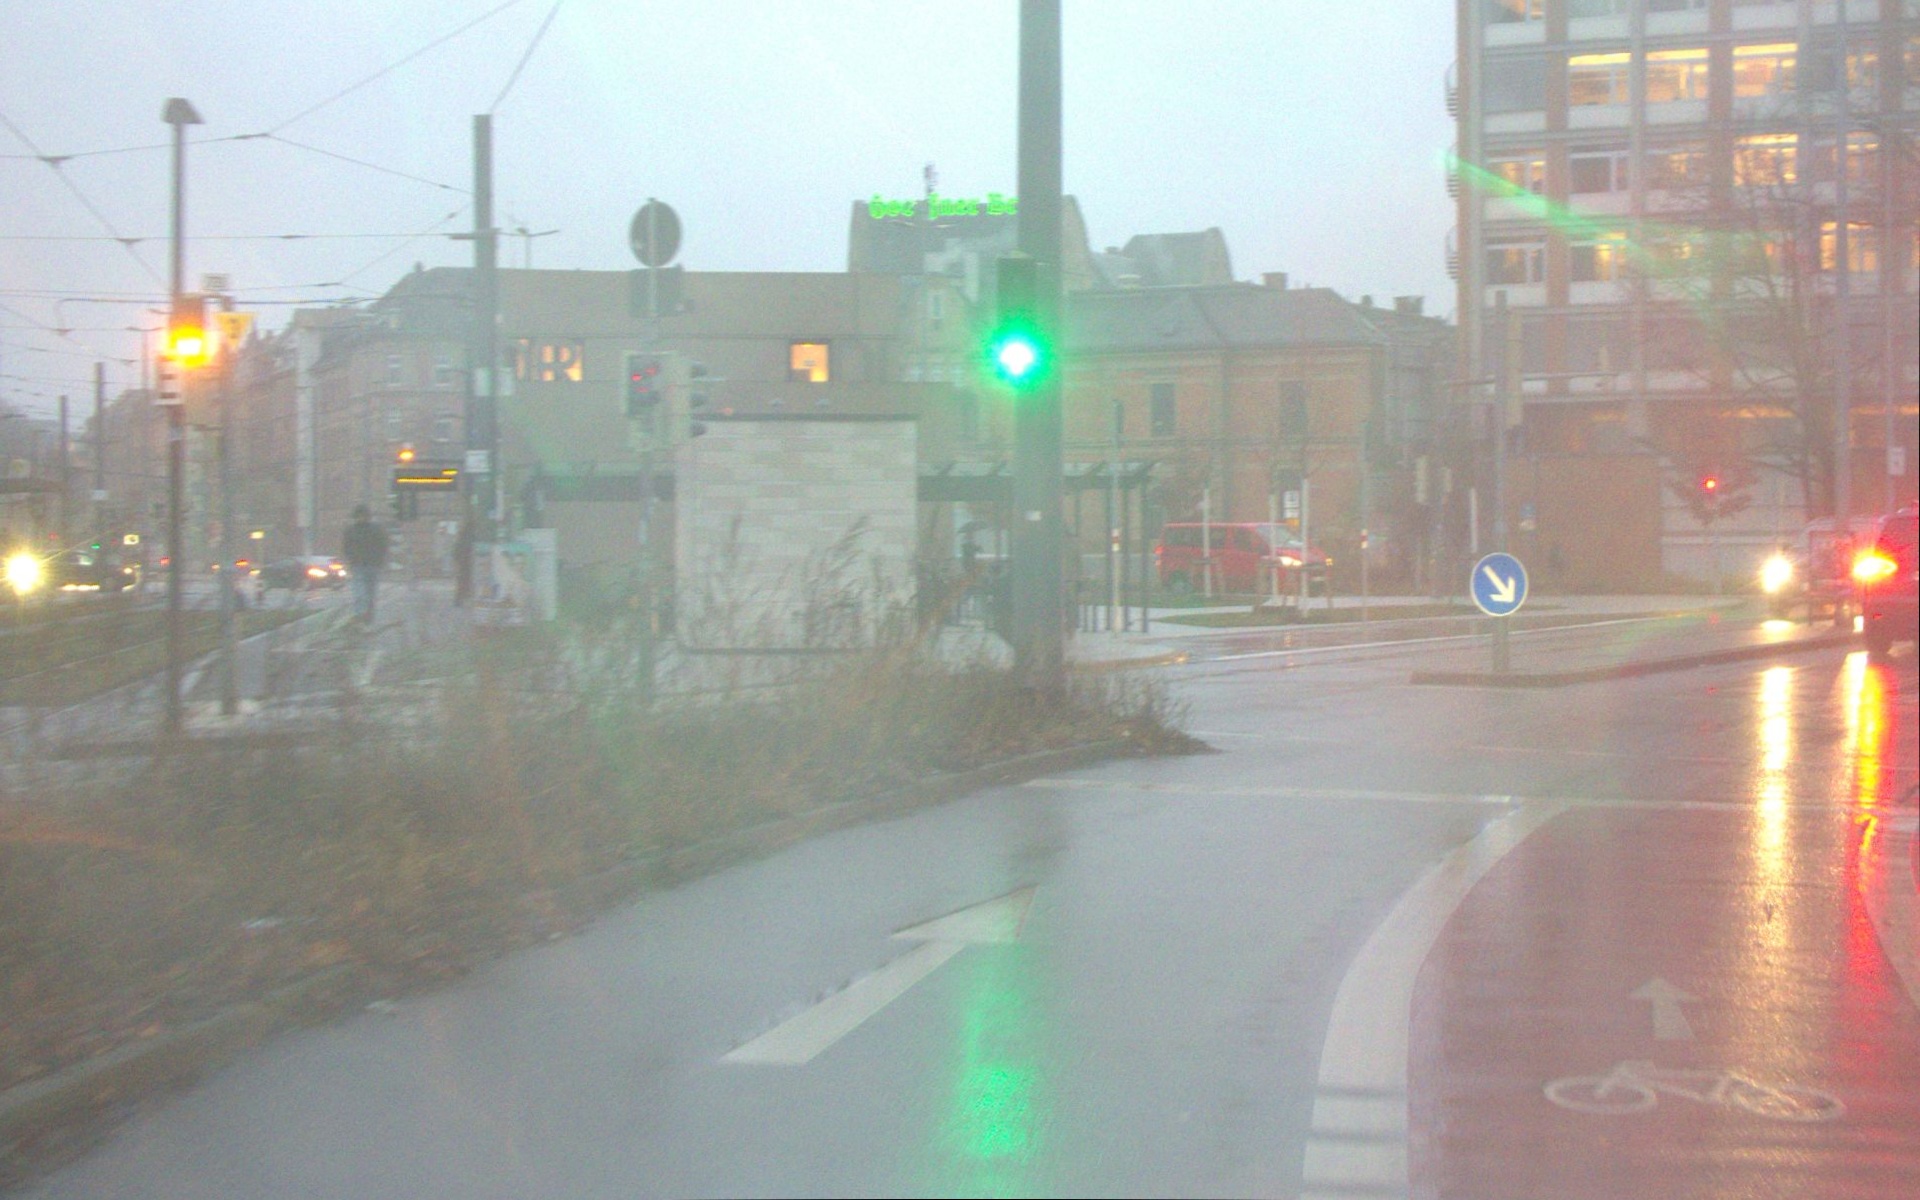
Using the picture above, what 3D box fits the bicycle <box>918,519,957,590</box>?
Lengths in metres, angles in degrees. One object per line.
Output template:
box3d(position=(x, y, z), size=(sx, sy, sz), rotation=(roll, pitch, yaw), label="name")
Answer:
box3d(position=(-0.385, -0.759, 58.130), size=(0.548, 1.161, 1.899), rotation=(2, 0, -3), label="bicycle")

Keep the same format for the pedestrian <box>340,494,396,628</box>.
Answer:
box3d(position=(-8.164, -0.537, 47.455), size=(0.603, 1.807, 0.825), rotation=(2, 0, -4), label="pedestrian")

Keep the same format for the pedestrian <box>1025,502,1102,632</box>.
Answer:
box3d(position=(1.364, -0.425, 45.123), size=(0.674, 1.668, 0.729), rotation=(2, 0, 31), label="pedestrian")

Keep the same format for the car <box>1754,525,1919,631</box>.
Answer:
box3d(position=(14.505, -0.390, 56.677), size=(1.756, 1.656, 4.524), rotation=(0, 1, 26), label="car")

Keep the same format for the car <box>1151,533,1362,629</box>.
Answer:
box3d(position=(7.595, -0.501, 88.422), size=(5.034, 2.273, 2.252), rotation=(3, 0, 44), label="car")

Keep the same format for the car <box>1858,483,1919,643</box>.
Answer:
box3d(position=(12.026, -0.454, 41.040), size=(1.649, 1.812, 3.994), rotation=(2, 2, 27), label="car")
